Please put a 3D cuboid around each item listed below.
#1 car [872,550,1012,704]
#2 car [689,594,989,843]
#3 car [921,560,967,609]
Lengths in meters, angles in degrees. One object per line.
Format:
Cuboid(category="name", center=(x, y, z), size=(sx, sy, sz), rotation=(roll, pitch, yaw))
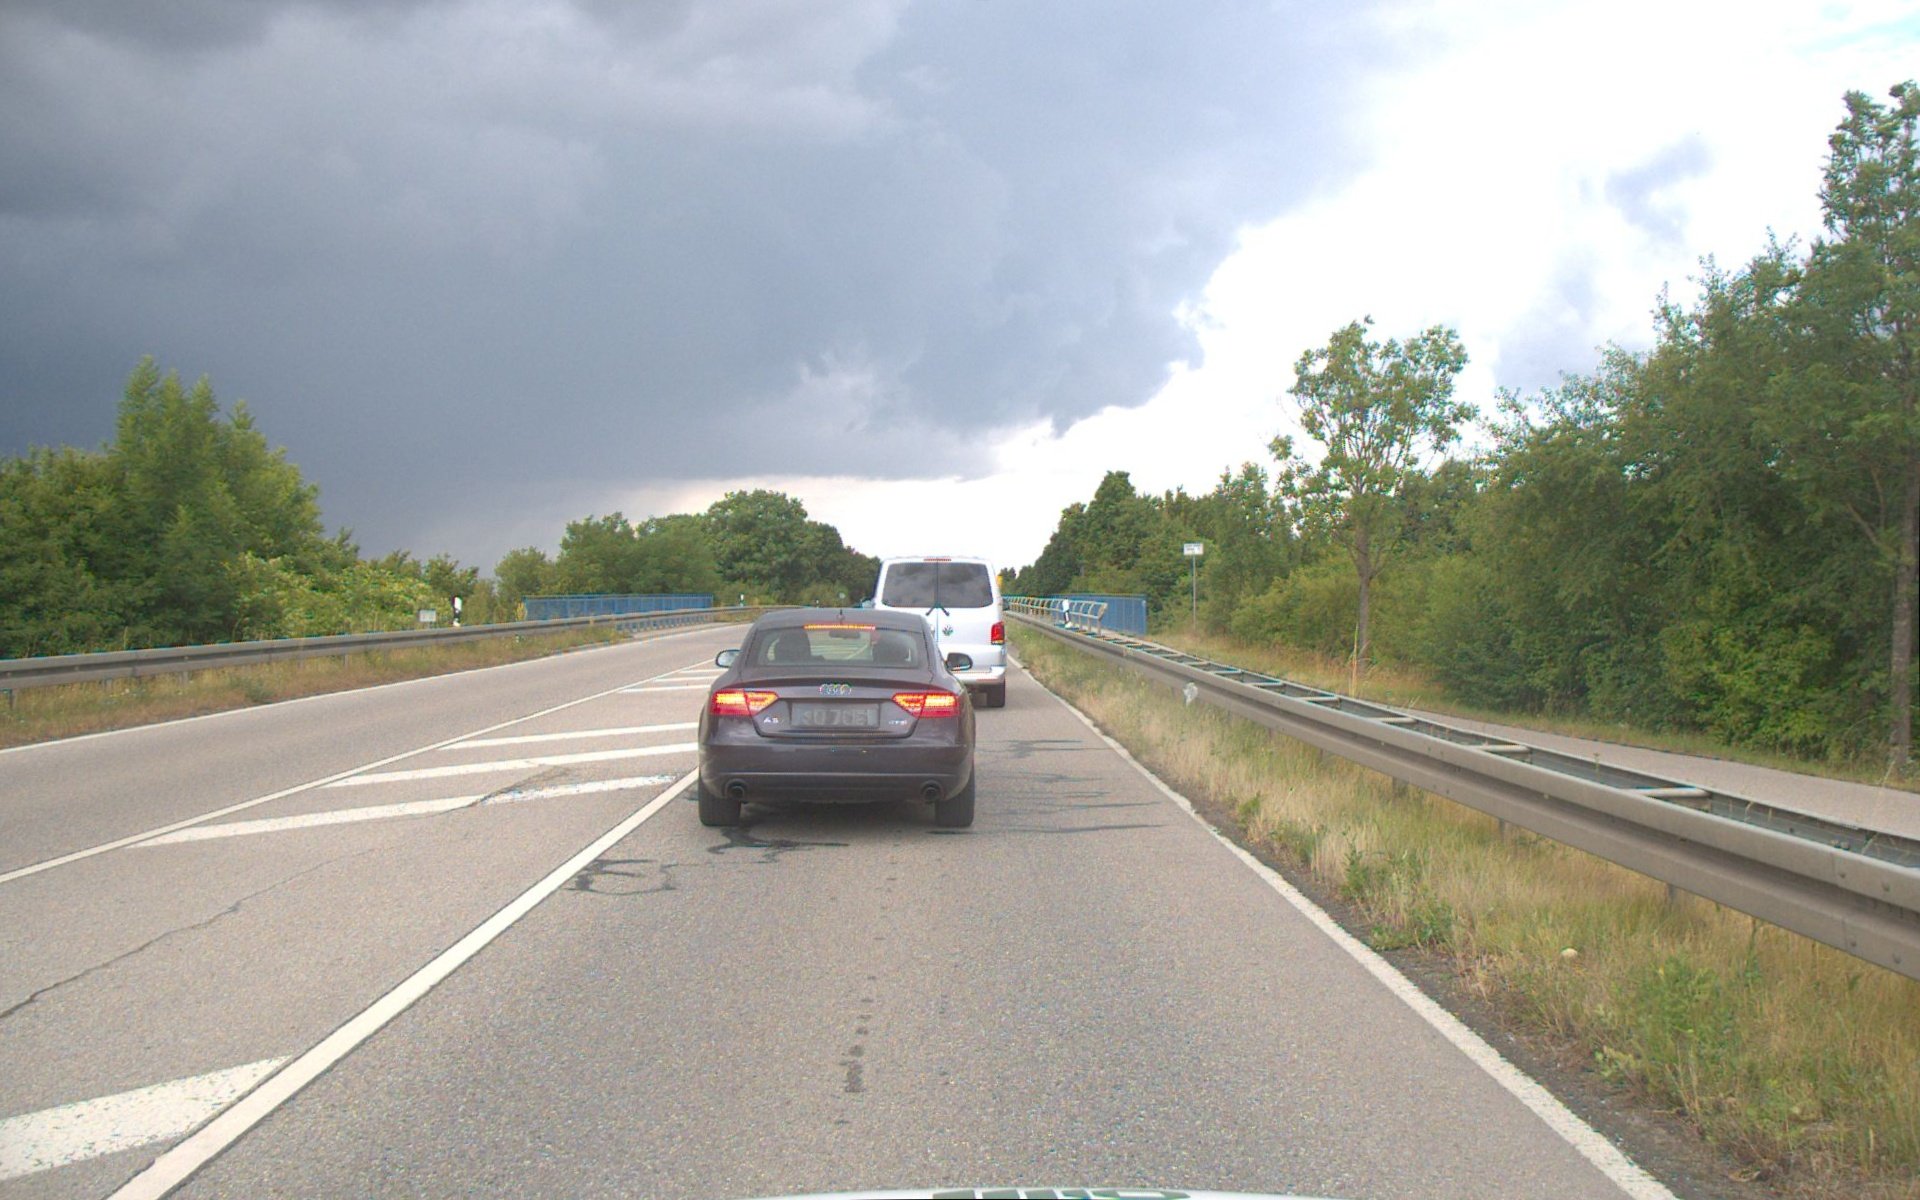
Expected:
Cuboid(category="car", center=(-0.264, 0.351, 22.931), size=(1.749, 1.923, 3.999), rotation=(1, 0, -1))
Cuboid(category="car", center=(-0.746, 0.714, 11.772), size=(1.749, 1.448, 3.999), rotation=(1, 0, -1))
Cuboid(category="car", center=(-0.865, -0.829, 88.969), size=(2.397, 2.548, 5.040), rotation=(1, 0, -1))
